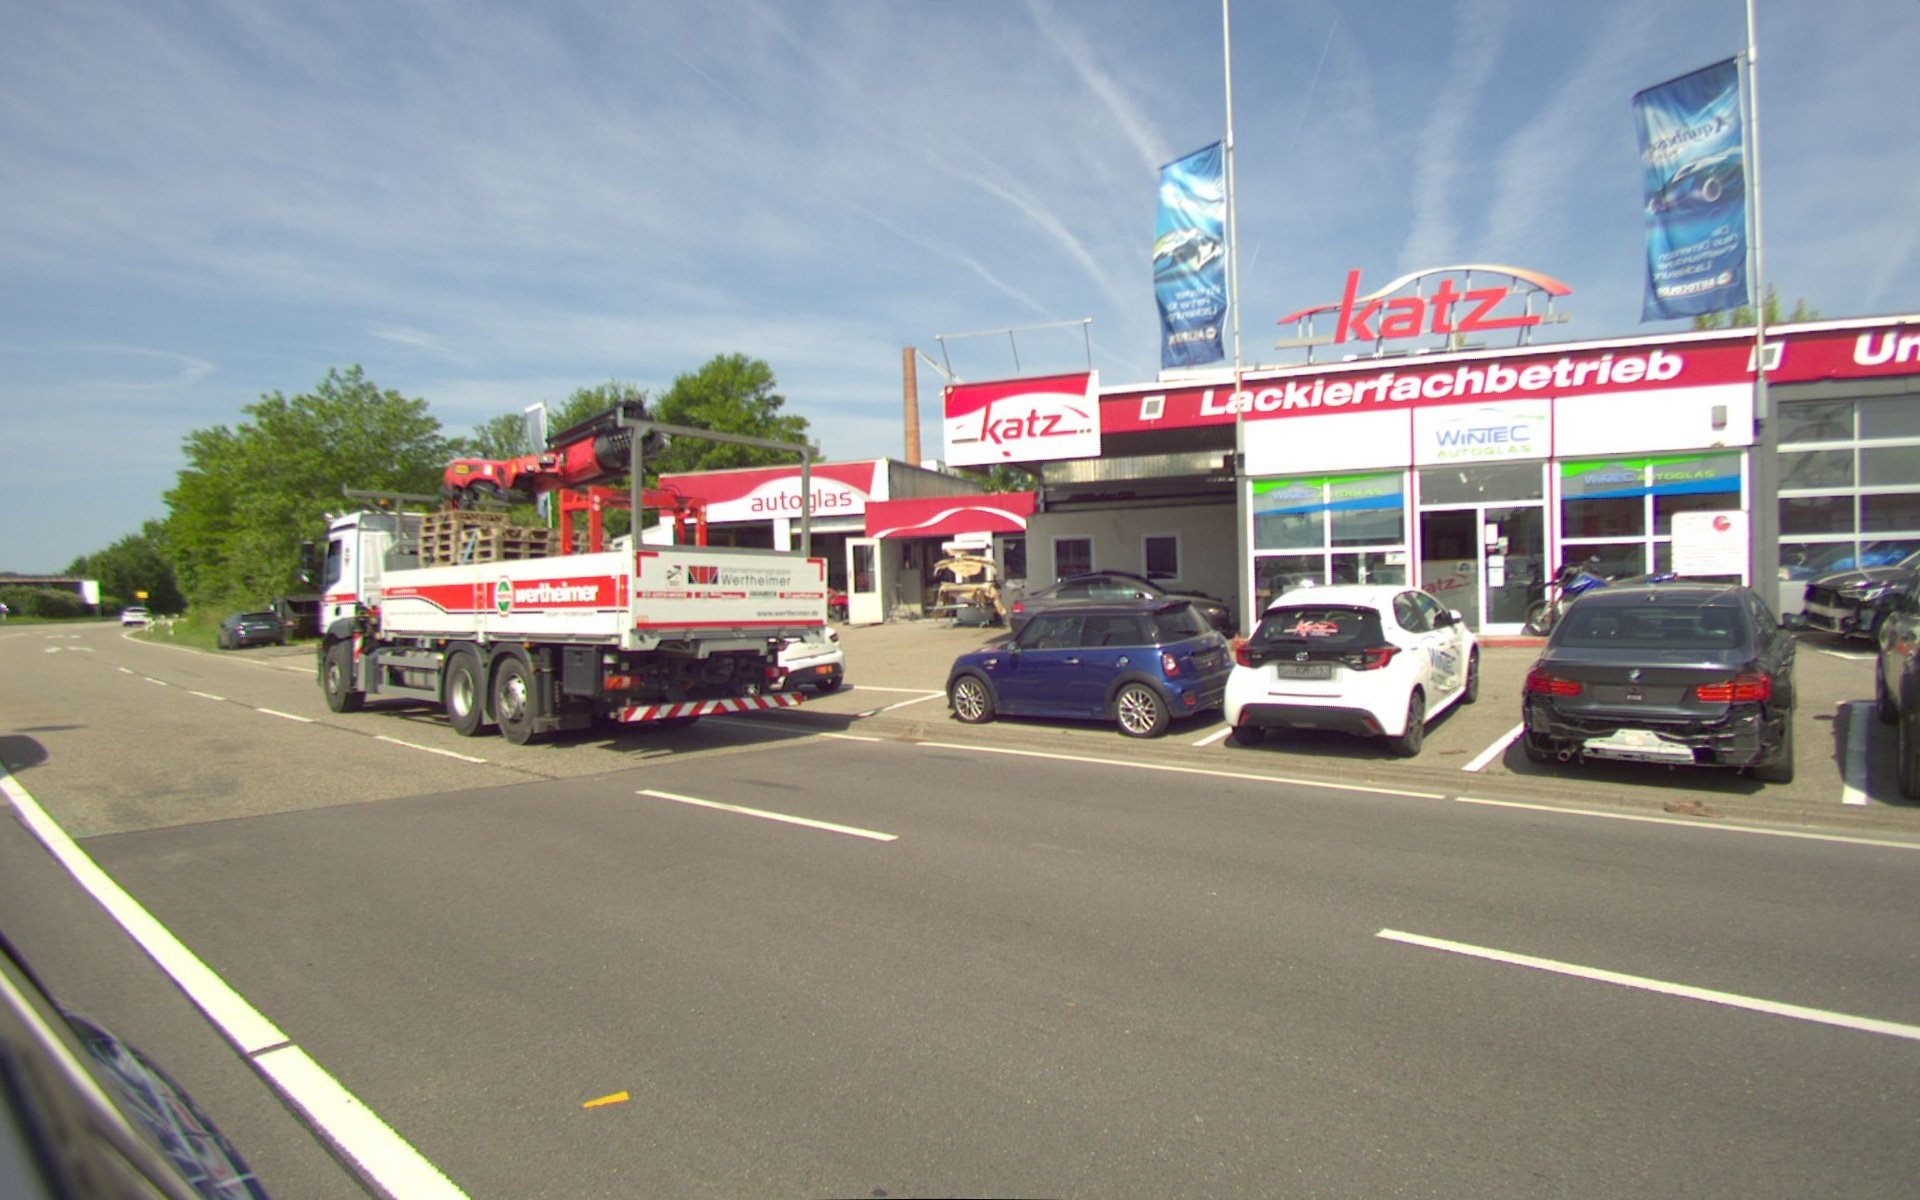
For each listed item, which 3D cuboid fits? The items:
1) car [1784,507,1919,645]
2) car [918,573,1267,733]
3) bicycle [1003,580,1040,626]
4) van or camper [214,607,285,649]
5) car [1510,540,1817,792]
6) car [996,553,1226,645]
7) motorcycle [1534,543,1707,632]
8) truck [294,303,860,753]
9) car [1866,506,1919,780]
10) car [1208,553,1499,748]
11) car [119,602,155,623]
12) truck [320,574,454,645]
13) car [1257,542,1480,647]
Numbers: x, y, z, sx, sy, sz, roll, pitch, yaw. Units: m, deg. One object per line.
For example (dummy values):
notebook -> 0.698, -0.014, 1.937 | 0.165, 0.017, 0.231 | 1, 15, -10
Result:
car -> 13.851, -0.377, 13.398 | 4.089, 1.686, 1.820 | 0, 6, 15
car -> 1.494, 0.548, 12.196 | 3.781, 1.504, 1.761 | -1, 5, 42
bicycle -> 1.600, 0.067, 26.085 | 0.412, 0.978, 1.987 | -1, 5, 19
van or camper -> -28.951, 1.099, 41.184 | 1.621, 1.535, 4.470 | -3, 2, -44
car -> 6.121, 0.374, 8.763 | 1.790, 1.536, 3.674 | -1, 4, 38
car -> 3.128, -0.020, 20.804 | 4.360, 1.515, 1.849 | -4, 2, 18
motorcycle -> 9.984, -0.170, 15.390 | 2.039, 1.271, 0.767 | -1, 0, 20
truck -> -6.073, -0.573, 14.204 | 10.644, 4.241, 2.924 | -1, -2, 42
car -> 7.825, 0.188, 7.161 | 1.804, 1.729, 3.850 | -1, 4, 38
car -> 4.307, 0.386, 10.739 | 1.844, 1.536, 3.761 | -1, 3, 38
car -> -69.329, 1.054, 85.265 | 1.909, 1.687, 4.011 | 0, -1, -33
truck -> -22.593, 0.346, 39.623 | 2.304, 2.313, 8.811 | -8, 5, -43
car -> 7.694, -0.123, 19.408 | 3.727, 1.771, 1.697 | -2, 4, 16
